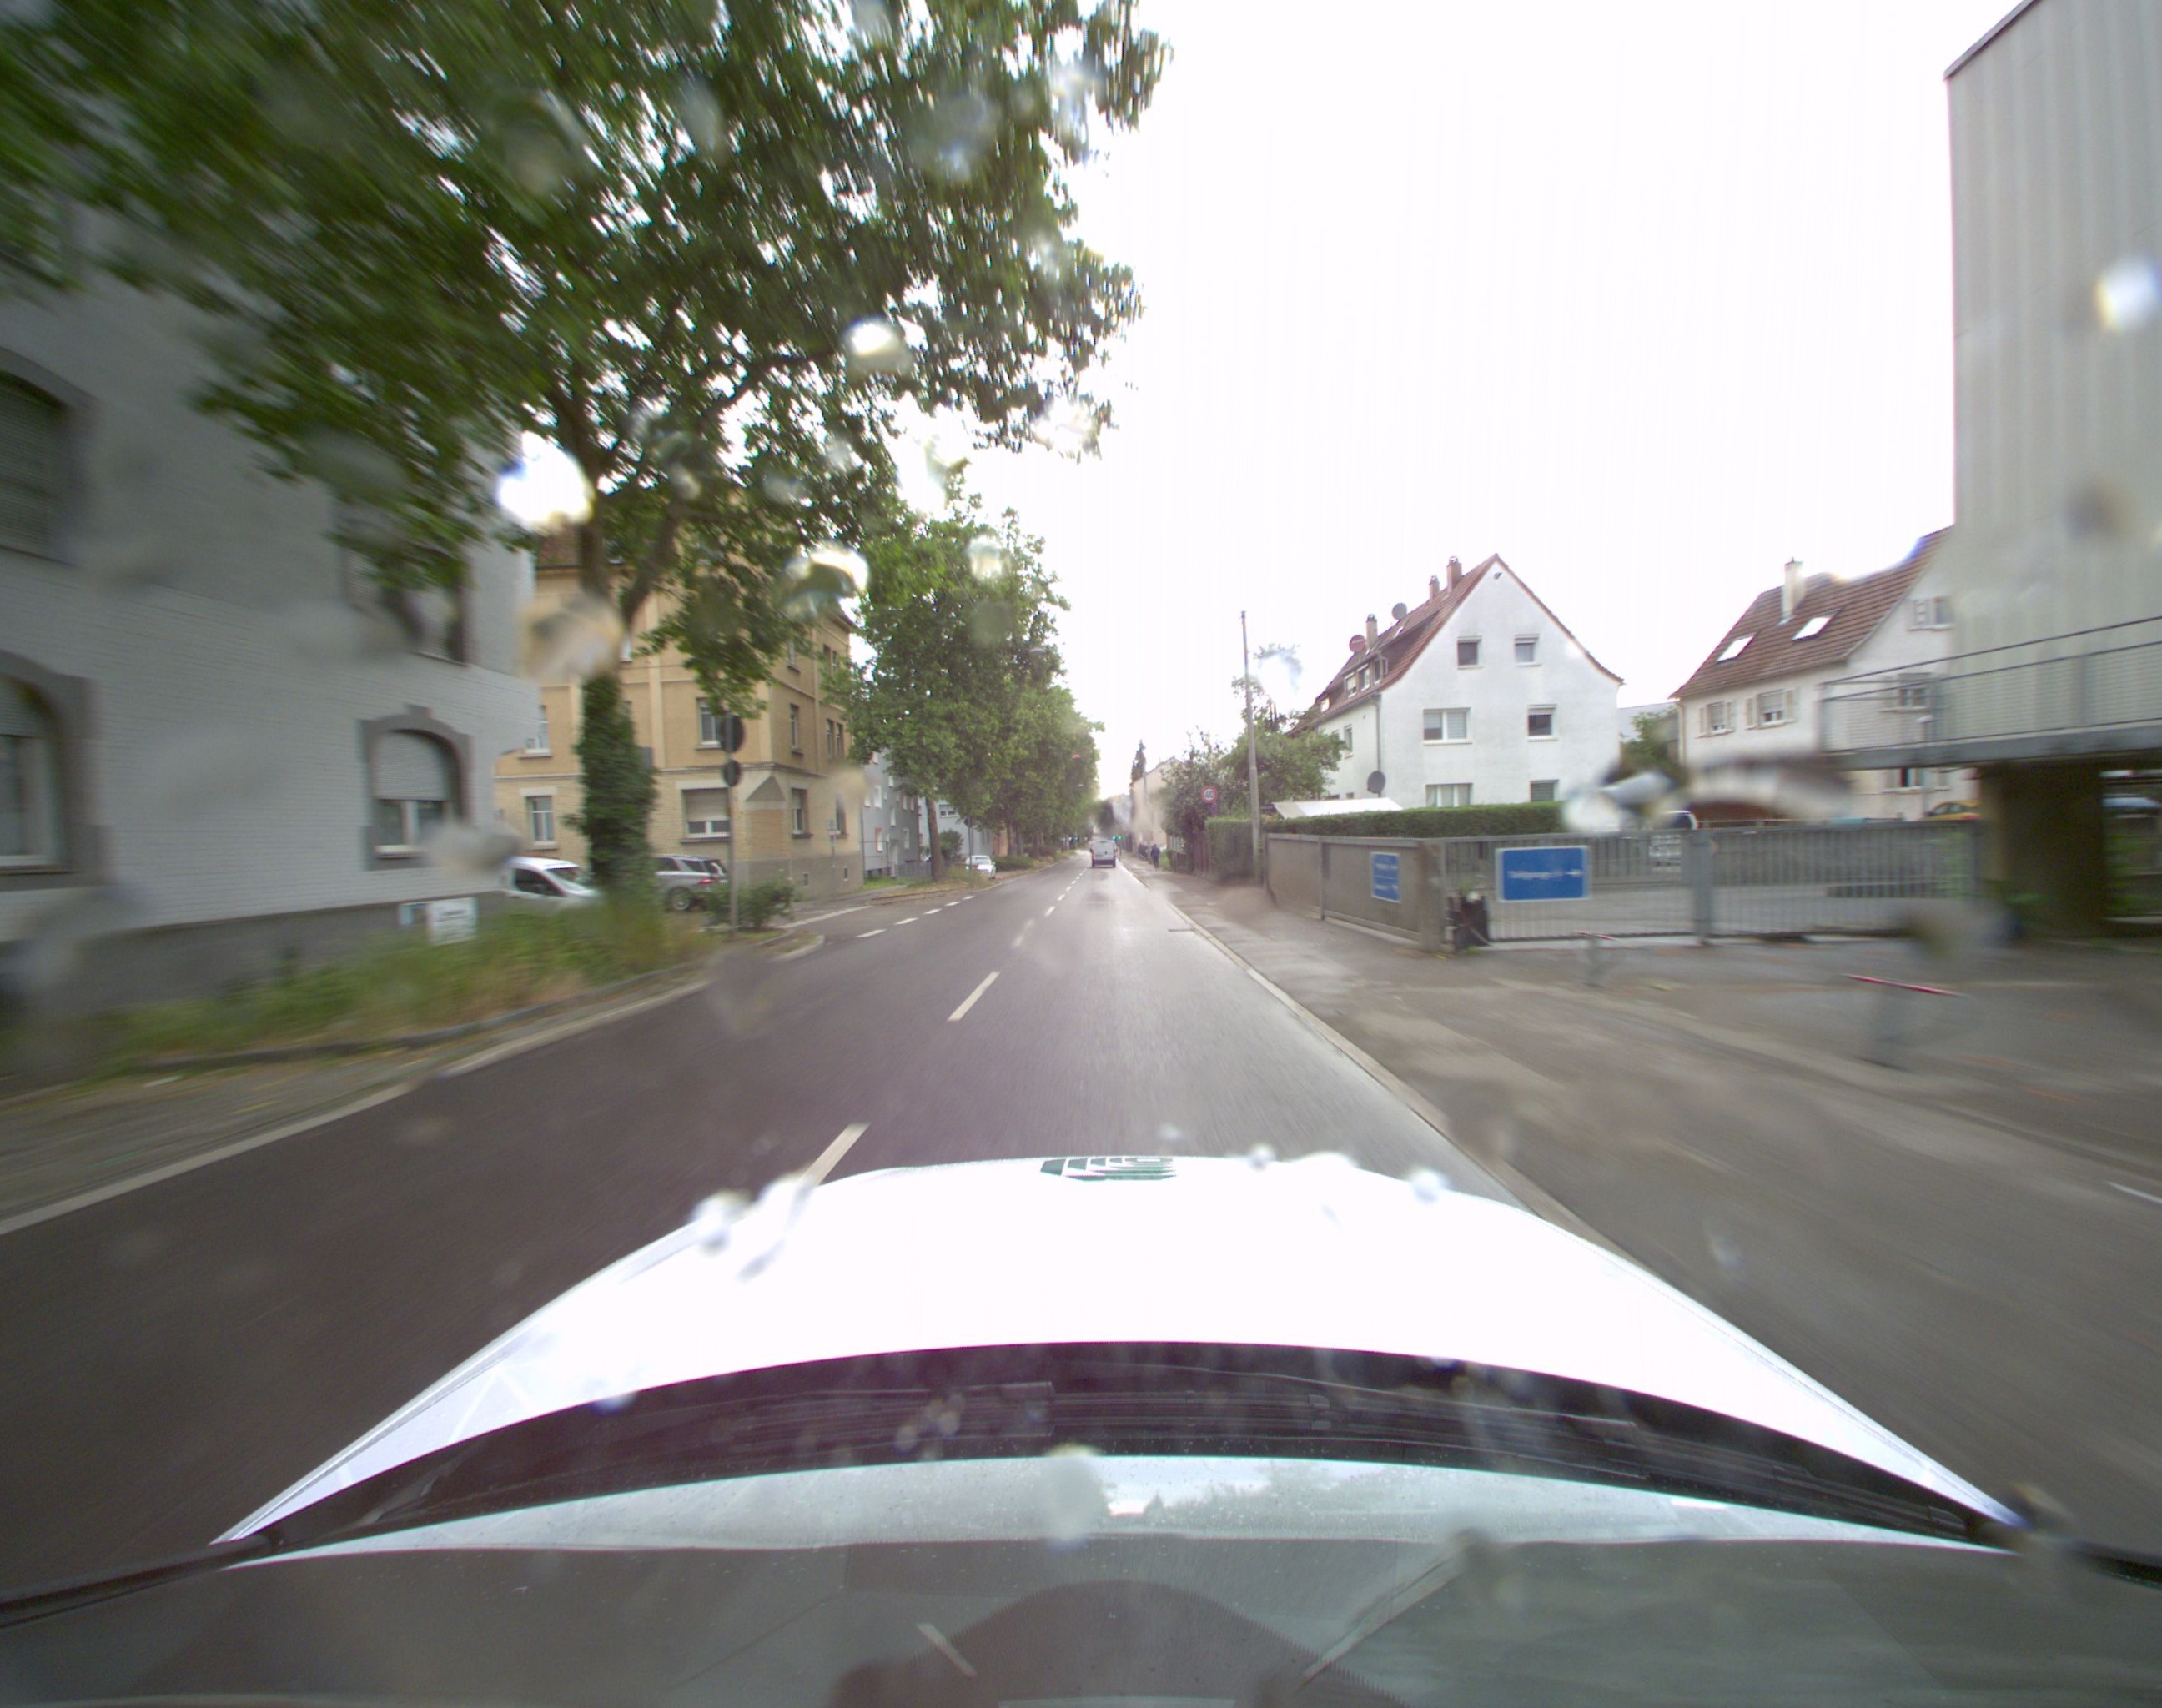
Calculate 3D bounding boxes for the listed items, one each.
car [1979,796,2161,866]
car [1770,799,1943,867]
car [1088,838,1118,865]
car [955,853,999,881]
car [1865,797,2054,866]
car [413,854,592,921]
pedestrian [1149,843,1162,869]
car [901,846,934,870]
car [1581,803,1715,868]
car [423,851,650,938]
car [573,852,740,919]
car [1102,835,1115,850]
[{"bbox_3d":[31.702,-0.690,25.909,1.855,2.013,4.001,-2,0,1],"label":"car"},{"bbox_3d":[25.146,-0.631,26.627,1.855,2.013,4.001,-2,0,1],"label":"car"},{"bbox_3d":[1.861,-0.264,69.598,2.339,2.160,4.777,-2,2,0],"label":"car"},{"bbox_3d":[-5.940,0.717,47.061,1.987,1.452,4.209,-2,0,0],"label":"car"},{"bbox_3d":[28.414,-0.670,26.542,1.855,2.013,4.001,-2,0,1],"label":"car"},{"bbox_3d":[-18.218,1.028,25.803,4.182,1.892,2.000,-2,0,0],"label":"car"},{"bbox_3d":[5.013,0.147,55.030,0.812,1.698,0.730,-1,0,5],"label":"pedestrian"},{"bbox_3d":[-13.991,0.281,69.777,1.868,1.894,4.002,-2,1,1],"label":"car"},{"bbox_3d":[19.230,-0.601,27.860,1.831,2.013,4.001,-2,0,1],"label":"car"},{"bbox_3d":[-13.301,0.953,20.108,4.182,1.892,2.000,-2,0,0],"label":"car"},{"bbox_3d":[-13.380,0.964,25.872,4.182,1.892,2.000,-2,0,0],"label":"car"},{"bbox_3d":[4.581,-1.869,135.200,1.986,2.398,4.001,-2,0,1],"label":"car"}]
